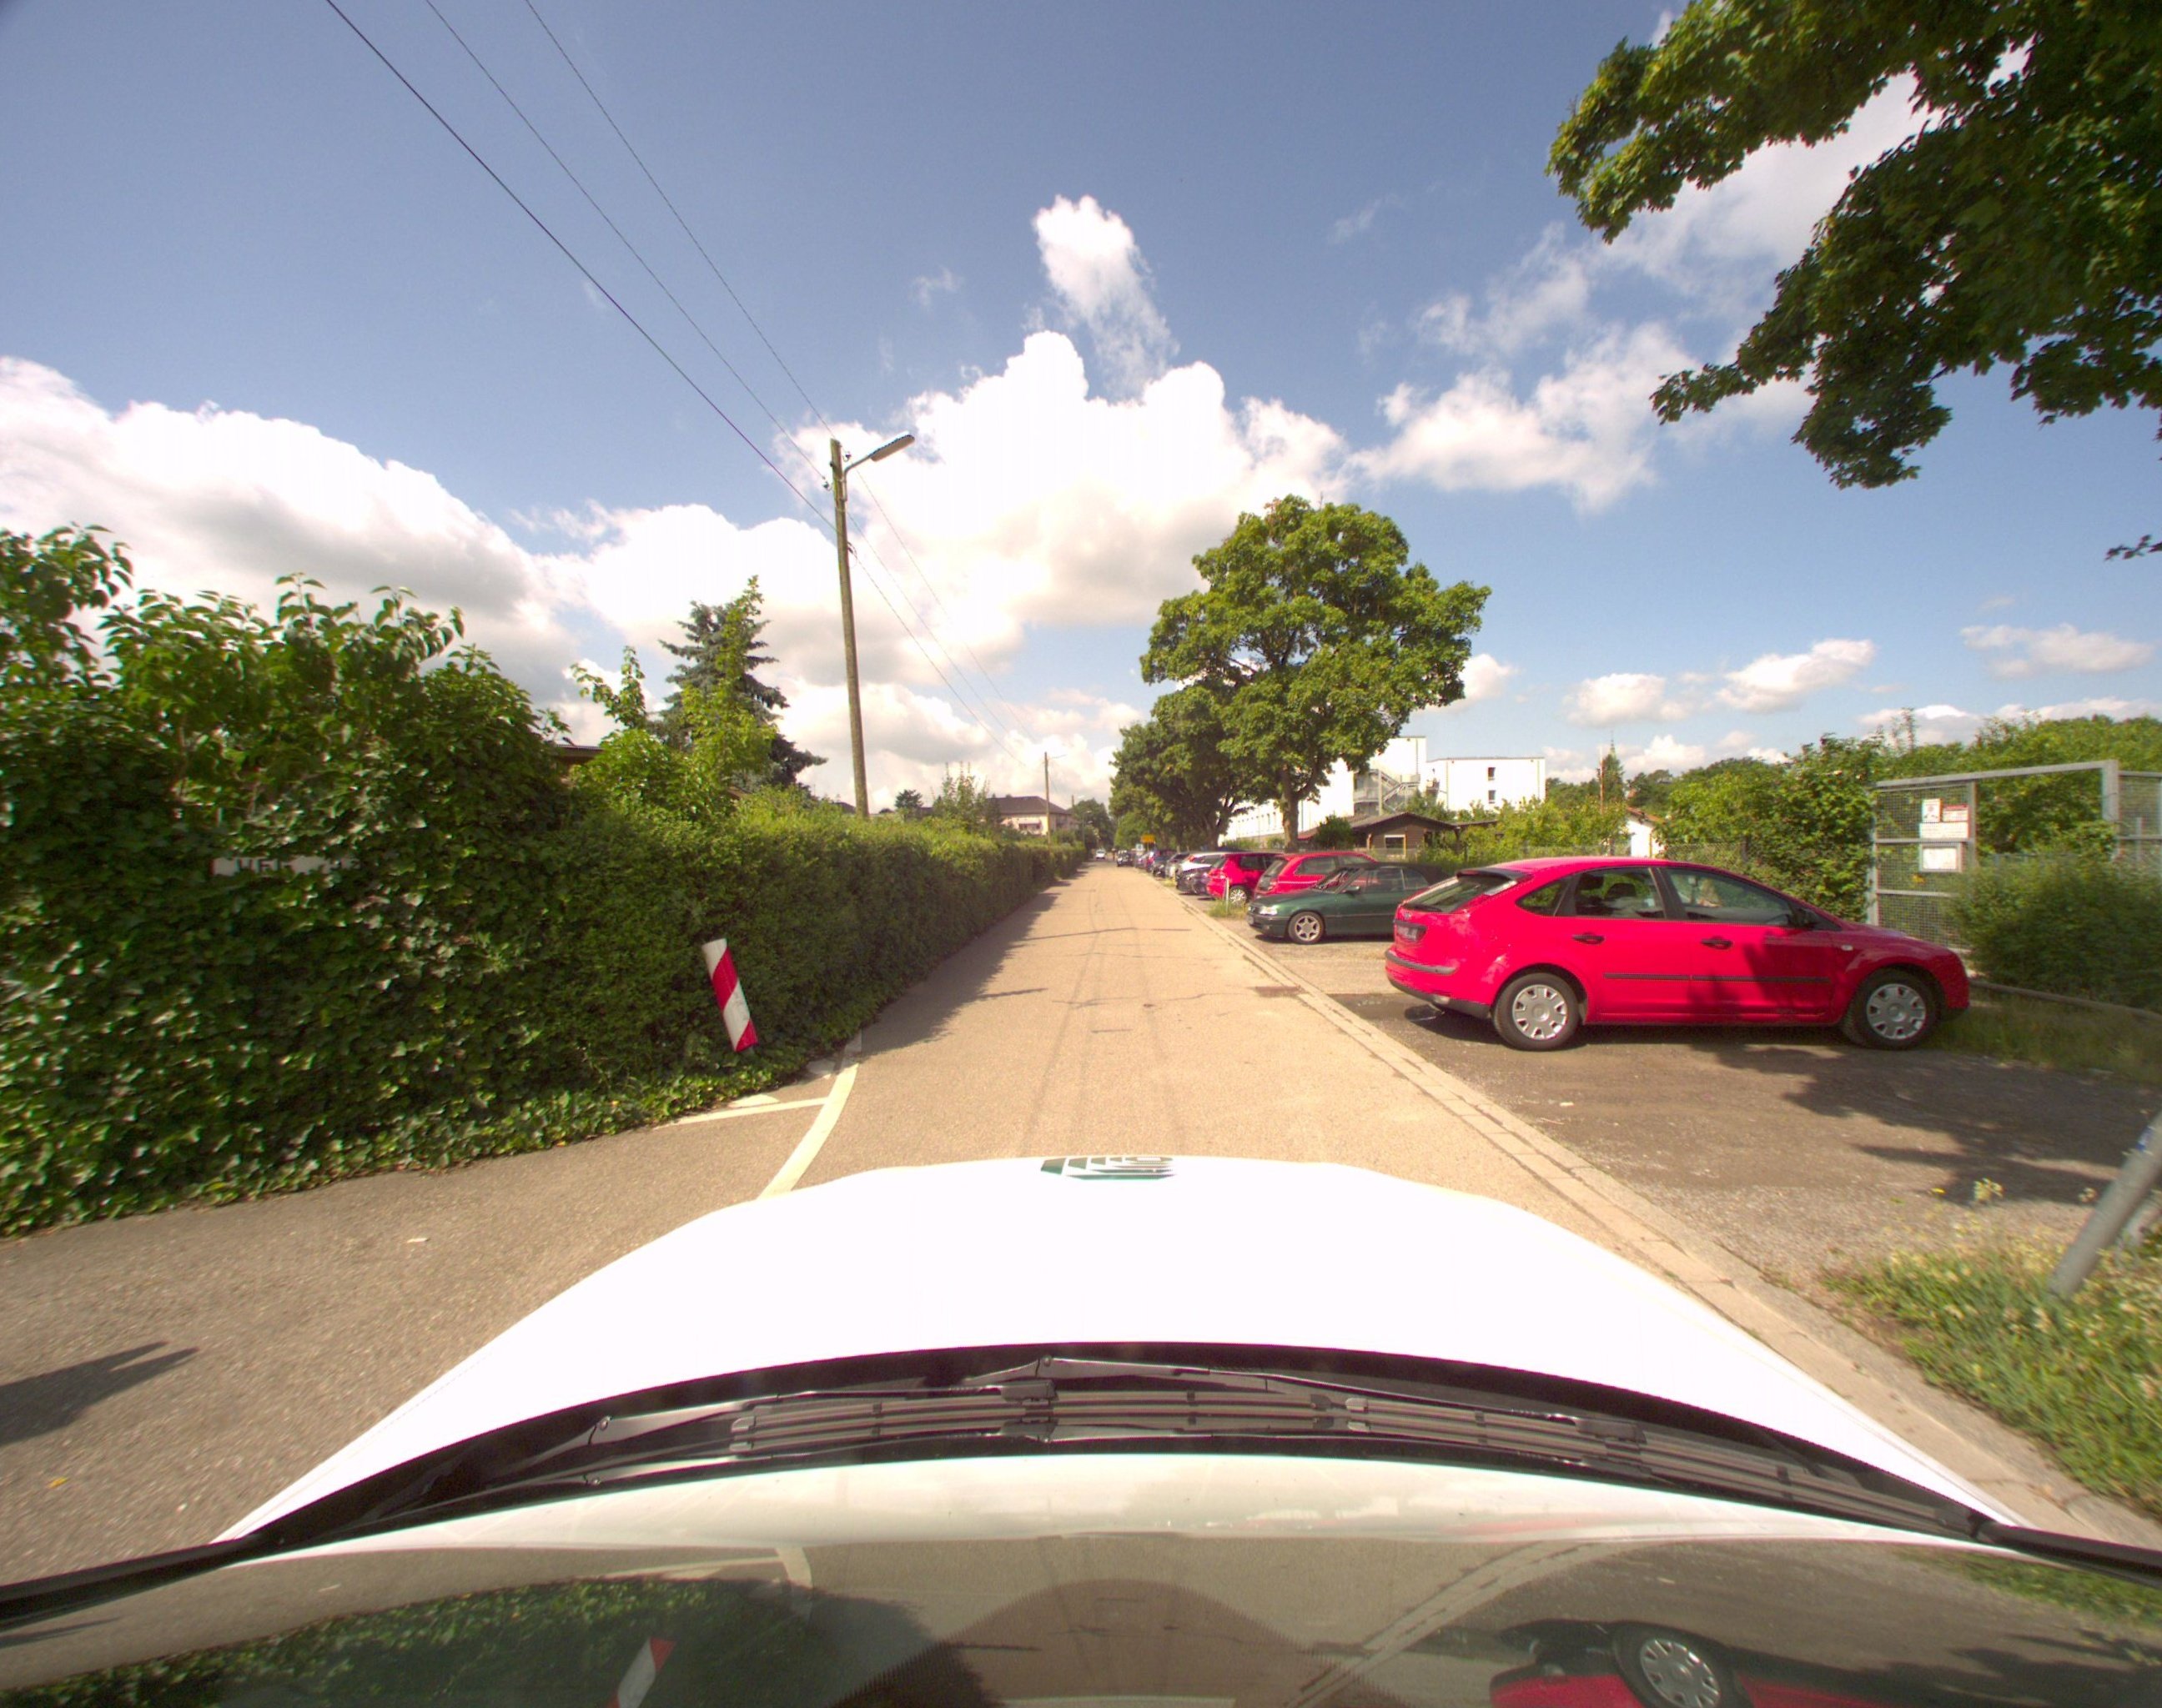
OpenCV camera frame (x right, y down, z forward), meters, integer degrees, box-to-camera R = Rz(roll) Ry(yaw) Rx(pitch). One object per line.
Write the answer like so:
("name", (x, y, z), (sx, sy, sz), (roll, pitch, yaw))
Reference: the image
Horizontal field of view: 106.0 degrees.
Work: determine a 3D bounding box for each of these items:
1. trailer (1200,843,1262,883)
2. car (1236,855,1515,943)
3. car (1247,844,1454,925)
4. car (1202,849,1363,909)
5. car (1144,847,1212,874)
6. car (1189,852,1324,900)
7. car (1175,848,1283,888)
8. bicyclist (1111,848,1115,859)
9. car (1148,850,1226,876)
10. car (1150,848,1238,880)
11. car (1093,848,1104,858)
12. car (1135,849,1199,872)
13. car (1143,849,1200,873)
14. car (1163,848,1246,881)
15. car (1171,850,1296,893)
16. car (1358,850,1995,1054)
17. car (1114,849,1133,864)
("trailer", (6.660, 0.401, 36.312), (2.443, 1.720, 1.517), (0, 1, -2))
("car", (5.032, 0.744, 14.325), (4.227, 1.428, 1.907), (0, 0, -2))
("car", (5.512, 0.612, 17.041), (3.750, 1.574, 1.870), (0, 0, 1))
("car", (5.303, 0.637, 21.850), (3.968, 1.519, 1.857), (0, 0, 5))
("car", (6.207, 0.407, 52.451), (4.139, 1.637, 1.879), (-1, 0, 1))
("car", (5.370, 0.653, 25.365), (3.892, 1.423, 1.960), (0, 0, 4))
("car", (5.755, 0.527, 32.135), (4.046, 1.511, 1.960), (0, 0, 4))
("bicyclist", (5.494, -0.125, 139.255), (0.656, 1.852, 1.044), (-2, 0, 4))
("car", (6.115, 0.513, 47.371), (4.320, 1.492, 1.976), (0, 0, 1))
("car", (5.722, 0.497, 41.808), (4.286, 1.594, 2.000), (0, 0, 1))
("car", (3.308, -0.188, 152.530), (1.894, 1.814, 4.005), (0, 0, 4))
("car", (6.196, 0.457, 59.051), (4.533, 1.578, 1.809), (0, 0, 0))
("car", (6.260, 0.478, 56.638), (3.795, 1.532, 1.763), (-1, 0, 1))
("car", (5.886, 0.483, 39.219), (3.713, 1.540, 1.849), (0, 0, -2))
("car", (5.274, 0.592, 28.537), (4.053, 1.455, 1.869), (0, 0, -1))
("car", (4.797, 0.733, 7.103), (4.166, 1.504, 1.879), (0, 0, 2))
("car", (4.421, 0.270, 83.827), (1.654, 1.506, 4.008), (0, 0, 7))
